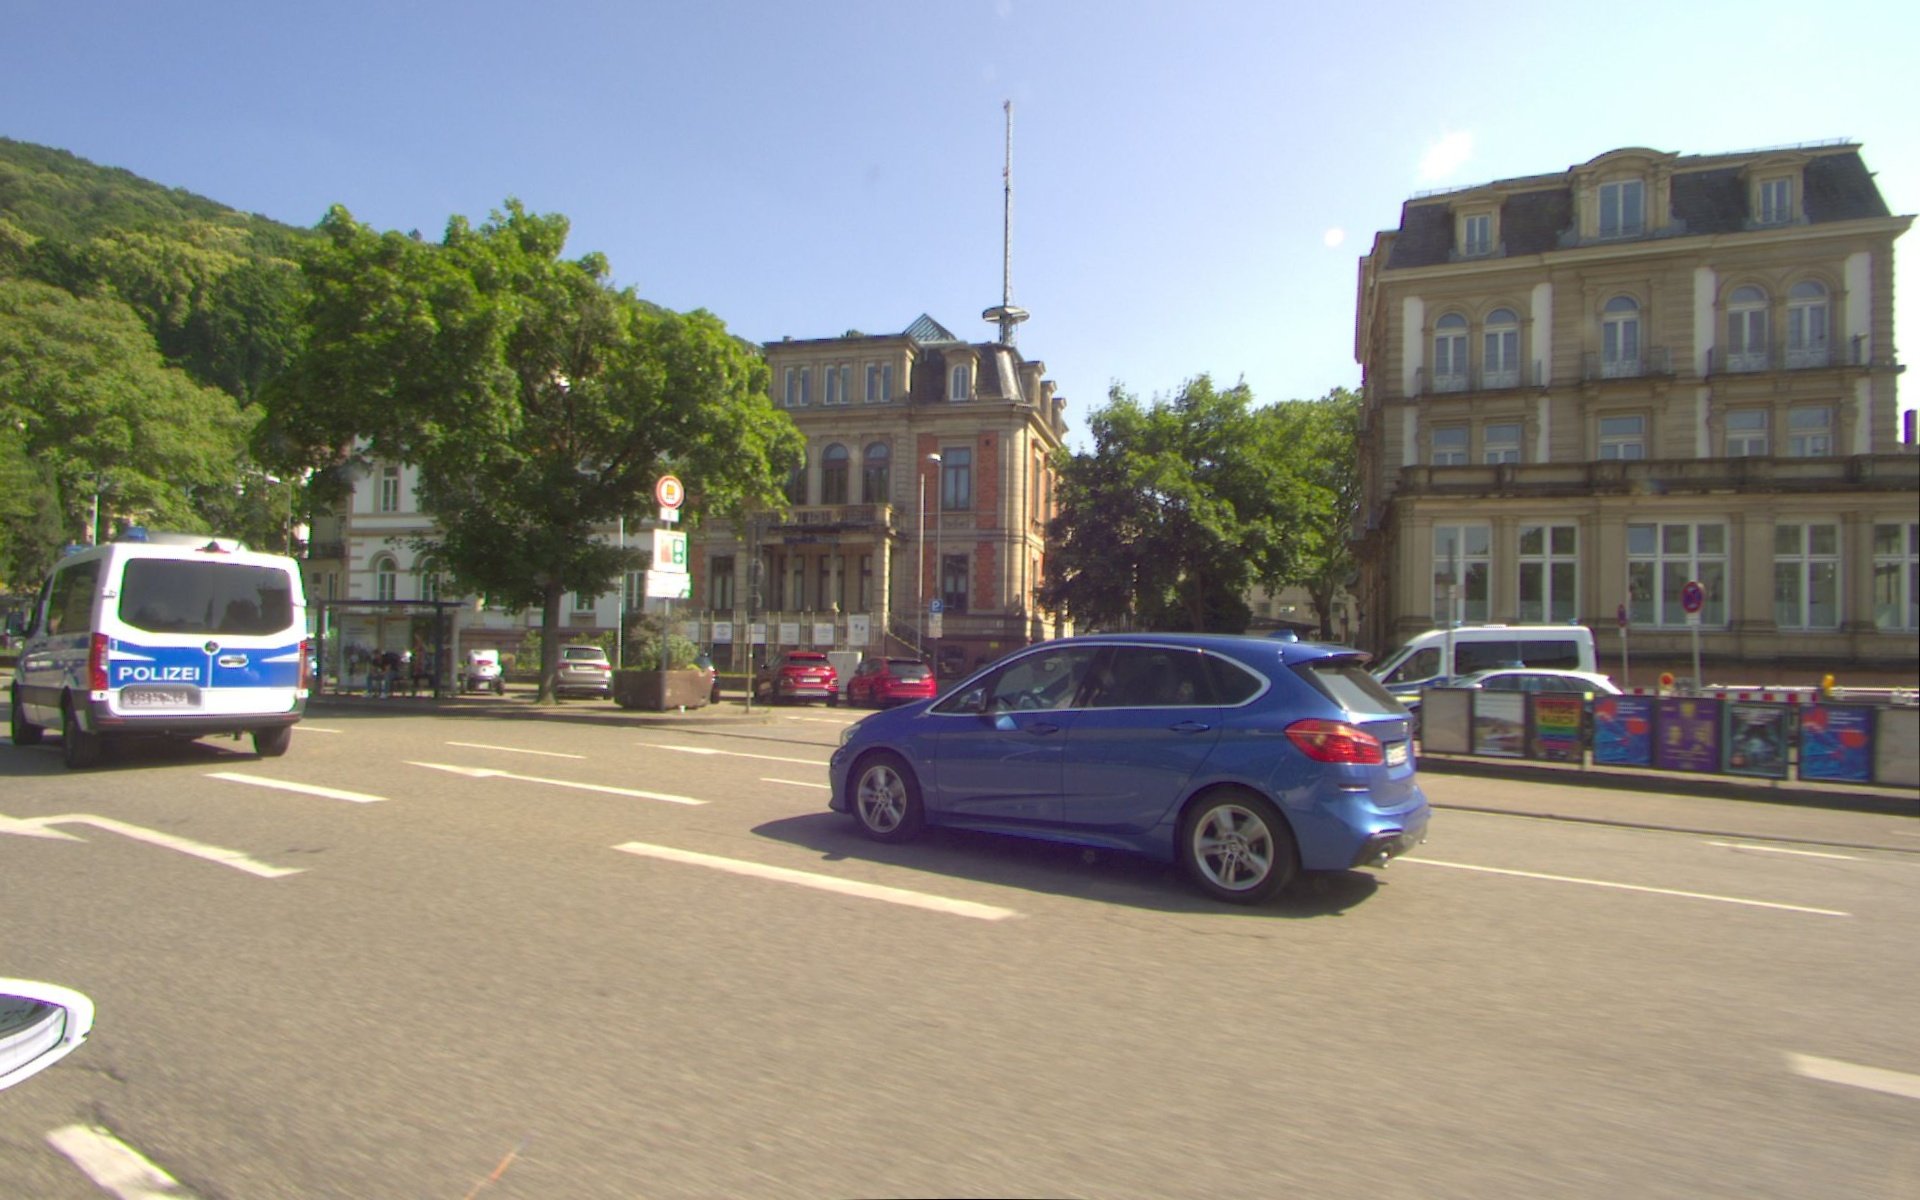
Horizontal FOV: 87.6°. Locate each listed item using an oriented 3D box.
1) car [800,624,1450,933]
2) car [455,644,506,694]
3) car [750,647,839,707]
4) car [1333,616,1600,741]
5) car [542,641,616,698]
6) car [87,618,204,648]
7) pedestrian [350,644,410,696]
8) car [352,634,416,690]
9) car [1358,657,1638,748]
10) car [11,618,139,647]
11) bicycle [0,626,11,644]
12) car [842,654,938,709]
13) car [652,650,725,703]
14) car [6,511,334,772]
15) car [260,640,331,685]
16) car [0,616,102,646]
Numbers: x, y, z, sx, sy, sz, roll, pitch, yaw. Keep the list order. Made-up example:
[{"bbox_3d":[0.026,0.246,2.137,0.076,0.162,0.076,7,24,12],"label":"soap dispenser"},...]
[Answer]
[{"bbox_3d":[0.996,0.997,7.085,4.216,1.560,1.715,-1,-4,36],"label":"car"},{"bbox_3d":[-15.411,2.199,32.144,1.185,1.501,2.276,3,-3,-32],"label":"car"},{"bbox_3d":[-4.913,2.218,29.423,1.722,1.594,3.867,2,-3,-22],"label":"car"},{"bbox_3d":[11.606,1.764,23.350,5.219,2.636,1.999,1,-2,15],"label":"car"},{"bbox_3d":[-11.906,2.113,31.171,1.688,1.650,4.299,2,-3,-27],"label":"car"},{"bbox_3d":[-39.465,1.626,48.640,1.828,1.353,4.047,0,-2,21],"label":"car"},{"bbox_3d":[-14.044,1.683,24.267,0.776,1.212,1.022,1,-2,3],"label":"pedestrian"},{"bbox_3d":[-19.104,2.033,33.313,1.689,1.717,4.255,3,-3,-29],"label":"car"},{"bbox_3d":[10.953,2.060,20.762,4.788,1.646,1.822,1,-3,14],"label":"car"},{"bbox_3d":[-43.964,1.646,49.872,1.790,1.353,4.473,0,-2,21],"label":"car"},{"bbox_3d":[-61.330,2.221,63.887,1.805,1.099,0.537,0,-1,26],"label":"bicycle"},{"bbox_3d":[-2.051,2.293,28.287,1.720,1.435,3.694,2,-4,-21],"label":"car"},{"bbox_3d":[-8.134,2.235,29.810,1.580,1.434,3.810,2,-3,-22],"label":"car"},{"bbox_3d":[-9.661,0.504,12.095,4.870,2.539,2.066,-2,-3,39],"label":"car"},{"bbox_3d":[-22.844,2.123,34.520,1.689,1.460,3.794,3,-3,-29],"label":"car"},{"bbox_3d":[-47.950,1.647,52.515,1.844,1.494,4.151,0,-2,19],"label":"car"}]
